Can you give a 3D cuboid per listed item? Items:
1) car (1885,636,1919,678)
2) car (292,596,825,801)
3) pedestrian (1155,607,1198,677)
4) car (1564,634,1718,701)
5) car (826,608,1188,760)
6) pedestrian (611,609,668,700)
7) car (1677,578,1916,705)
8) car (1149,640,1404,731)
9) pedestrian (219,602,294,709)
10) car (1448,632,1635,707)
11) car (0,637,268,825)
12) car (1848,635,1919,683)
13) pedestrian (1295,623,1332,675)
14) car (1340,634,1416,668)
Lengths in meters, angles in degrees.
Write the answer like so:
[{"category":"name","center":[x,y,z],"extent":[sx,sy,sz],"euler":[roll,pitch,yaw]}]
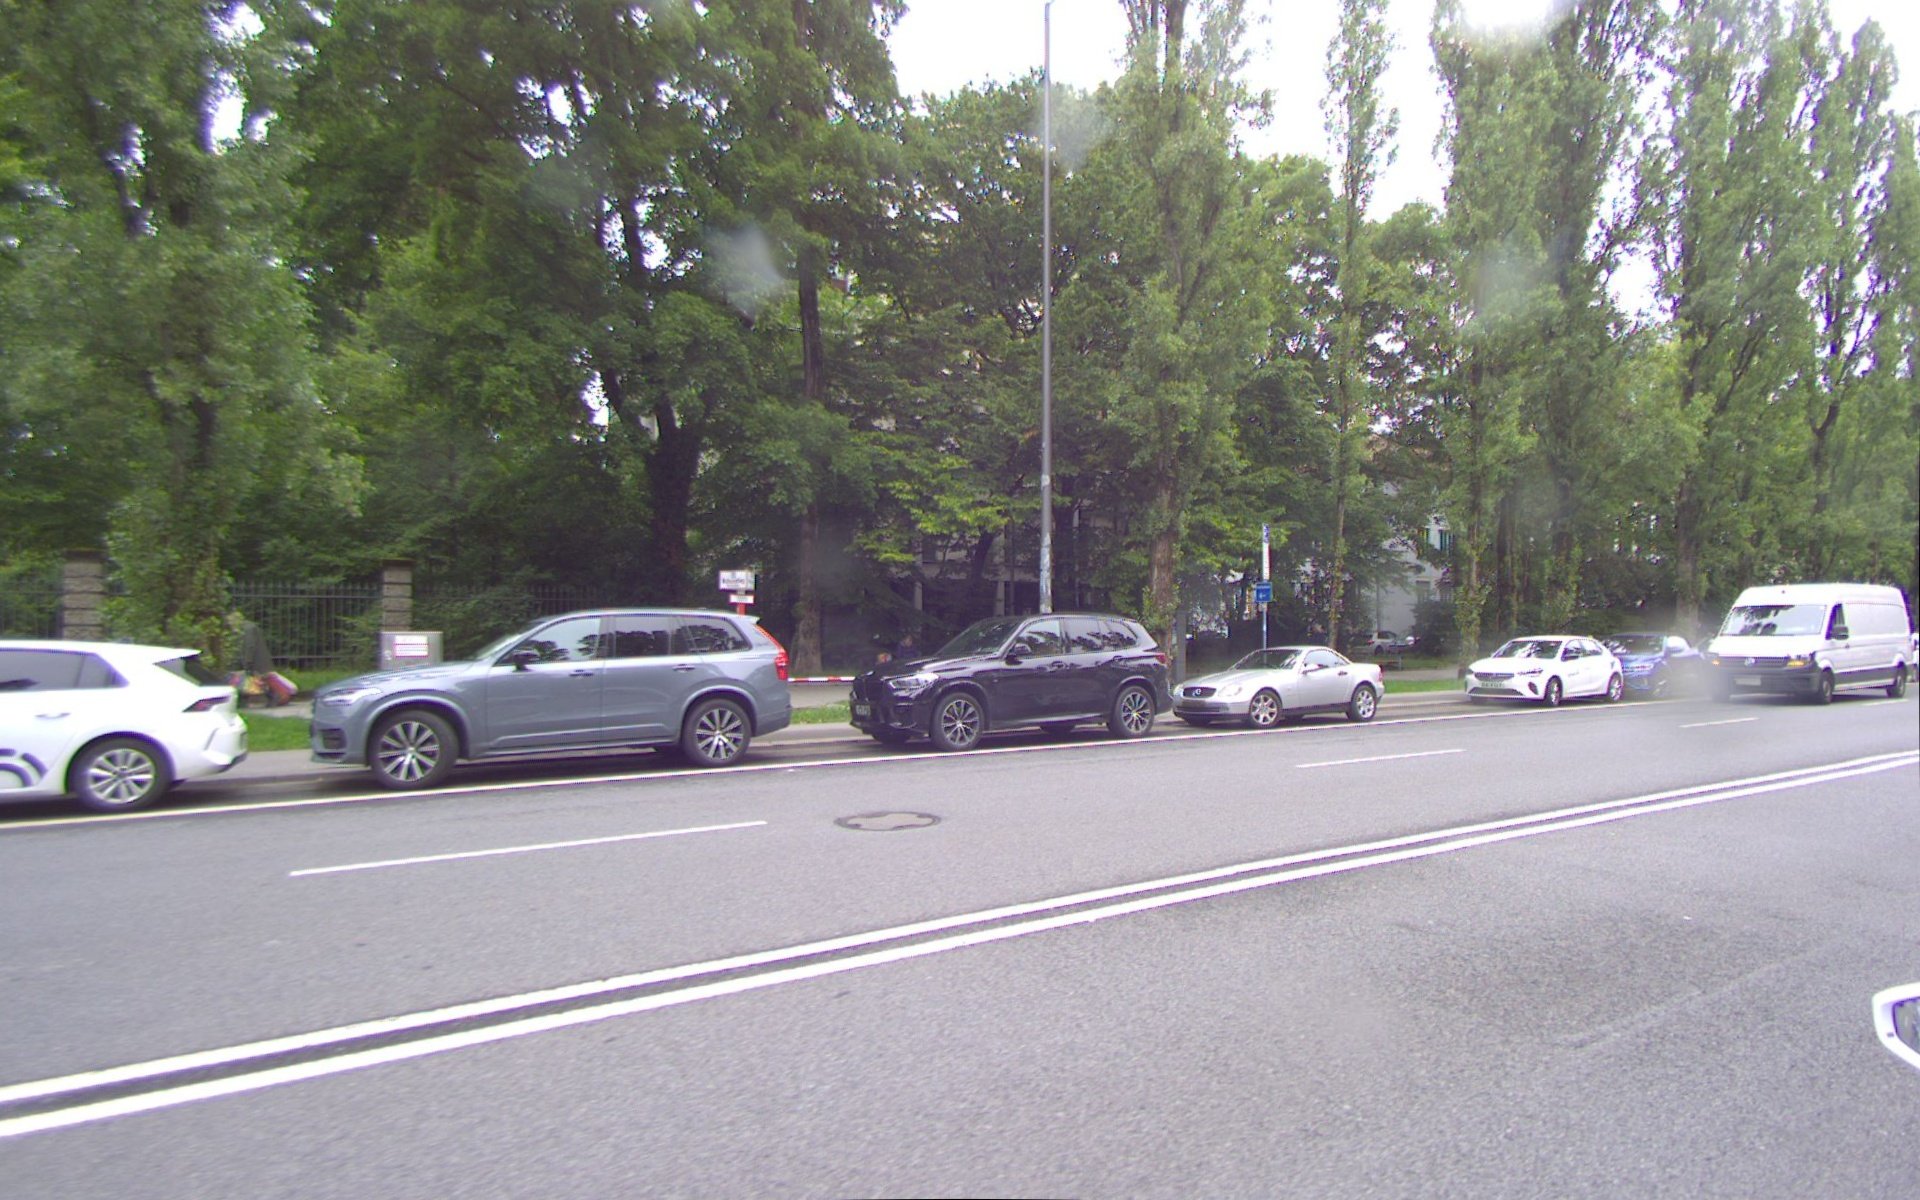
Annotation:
[{"category":"car","center":[33.690,1.933,34.726],"extent":[4.124,1.407,1.614],"euler":[1,-4,-35]},{"category":"car","center":[-4.239,0.977,11.108],"extent":[5.121,1.812,1.900],"euler":[1,-4,-32]},{"category":"pedestrian","center":[5.313,1.025,24.699],"extent":[0.742,1.686,0.735],"euler":[1,-2,-30]},{"category":"car","center":[16.150,1.581,23.803],"extent":[3.547,1.470,1.700],"euler":[1,-4,-33]},{"category":"car","center":[0.735,1.095,14.069],"extent":[4.842,1.790,1.931],"euler":[1,-4,-33]},{"category":"pedestrian","center":[-6.376,1.073,19.990],"extent":[0.946,1.764,0.663],"euler":[1,-1,-30]},{"category":"car","center":[18.962,0.929,22.652],"extent":[6.685,2.515,2.215],"euler":[1,-3,-33]},{"category":"car","center":[5.417,1.397,17.068],"extent":[4.186,1.351,1.817],"euler":[1,-4,-32]},{"category":"pedestrian","center":[-11.971,0.930,17.130],"extent":[0.946,1.764,0.827],"euler":[1,-1,-30]},{"category":"car","center":[12.658,1.469,21.795],"extent":[4.187,1.471,1.761],"euler":[1,-4,-33]},{"category":"car","center":[-8.431,1.073,8.400],"extent":[4.224,1.478,1.696],"euler":[1,-4,-32]},{"category":"car","center":[30.318,1.909,32.562],"extent":[2.932,1.466,1.420],"euler":[1,-4,-32]},{"category":"pedestrian","center":[11.376,1.572,32.330],"extent":[0.871,1.620,0.733],"euler":[1,0,-30]},{"category":"car","center":[23.478,2.823,56.388],"extent":[3.953,1.795,1.984],"euler":[1,-1,-30]}]
